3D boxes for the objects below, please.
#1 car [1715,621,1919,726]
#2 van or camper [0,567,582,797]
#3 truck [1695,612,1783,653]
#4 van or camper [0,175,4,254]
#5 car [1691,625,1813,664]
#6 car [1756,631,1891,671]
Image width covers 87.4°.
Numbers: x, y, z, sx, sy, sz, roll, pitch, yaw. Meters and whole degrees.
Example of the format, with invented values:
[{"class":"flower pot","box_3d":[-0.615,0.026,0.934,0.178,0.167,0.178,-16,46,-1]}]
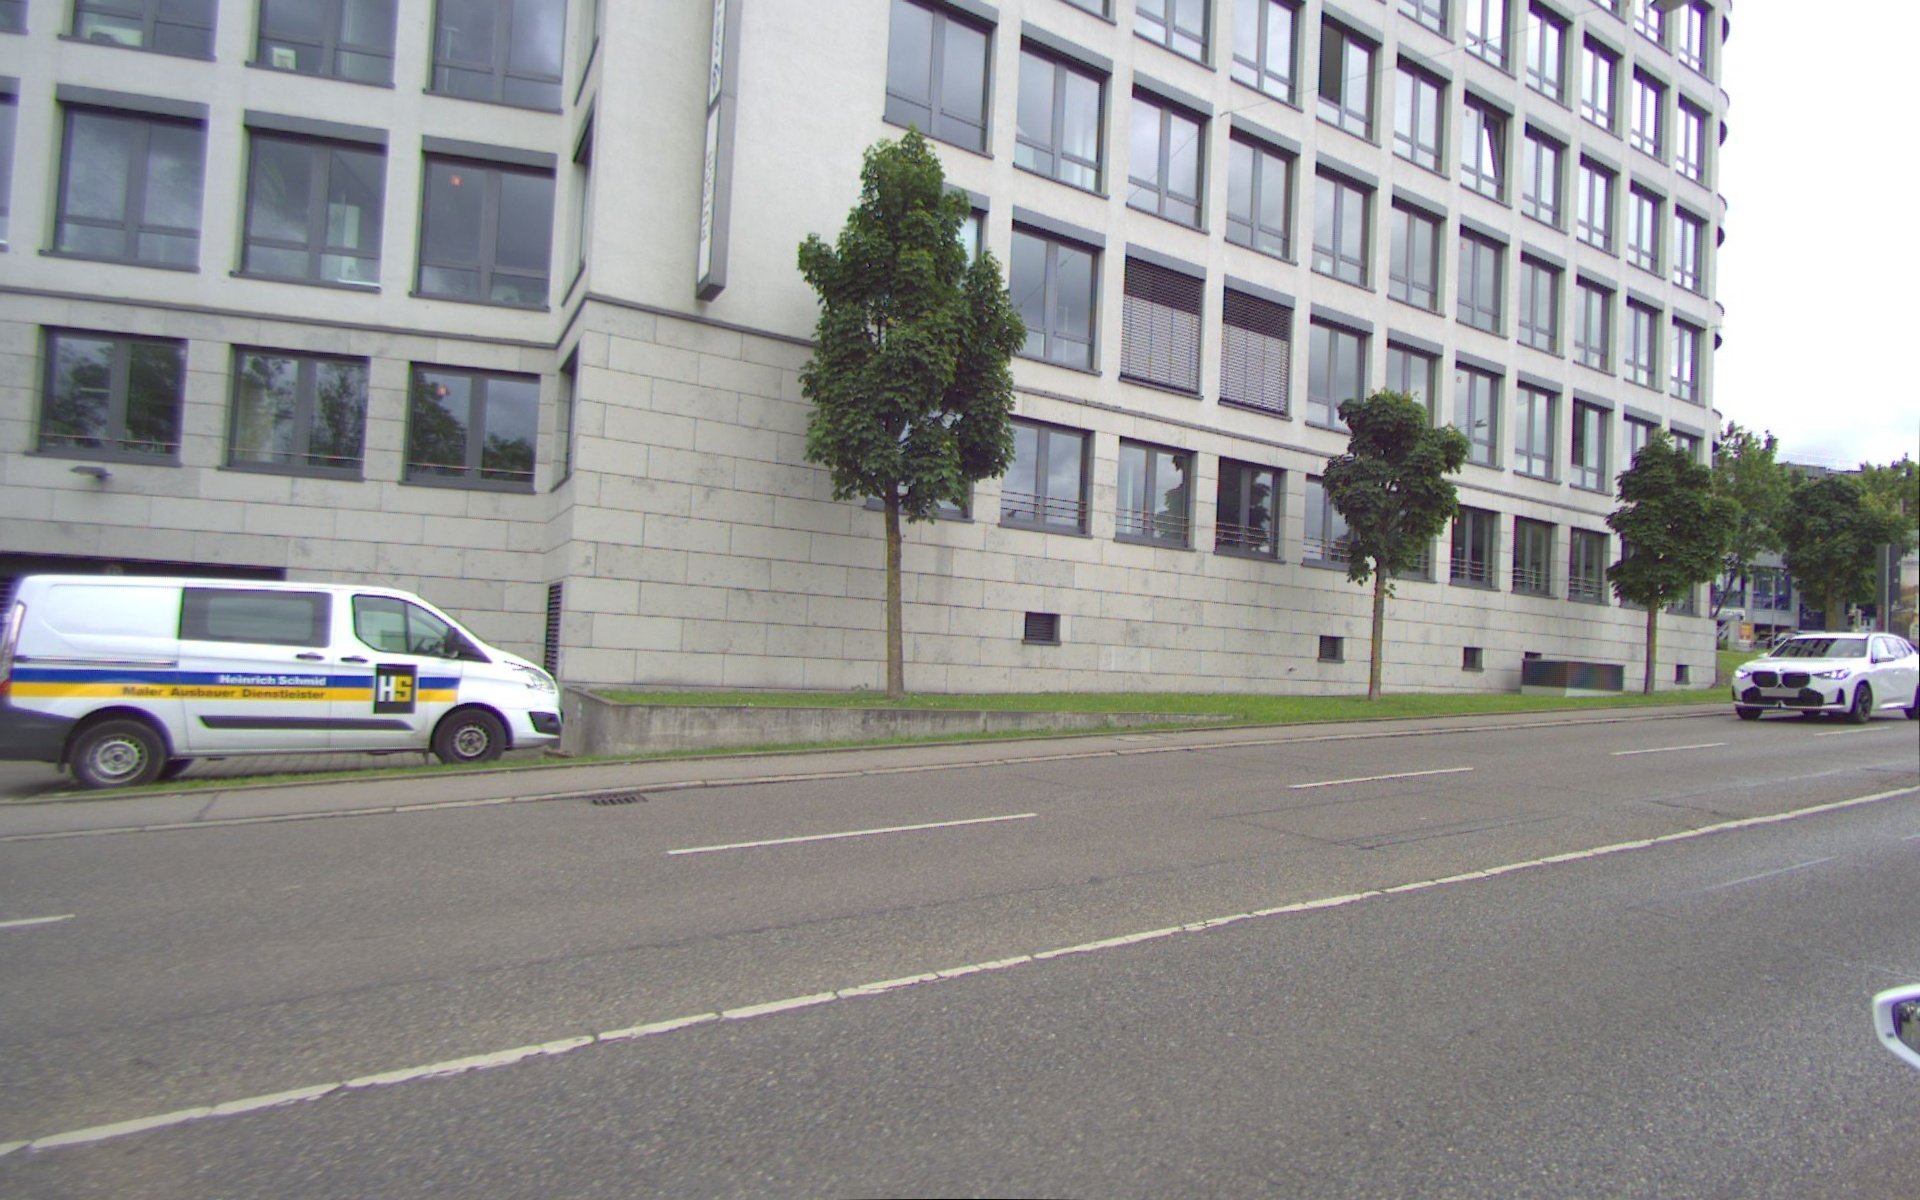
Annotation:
[{"class":"car","box_3d":[16.845,1.383,19.465,4.599,1.812,1.861,2,-4,-30]},{"class":"van or camper","box_3d":[-6.761,0.811,10.786,4.814,1.993,2.052,1,-4,-30]},{"class":"truck","box_3d":[48.569,2.010,62.675,3.923,2.419,1.999,1,0,-4]},{"class":"van or camper","box_3d":[-4.550,0.079,0.140,5.899,2.697,2.331,3,-1,-32]},{"class":"car","box_3d":[36.867,2.057,46.797,4.356,1.482,1.780,3,0,-5]},{"class":"car","box_3d":[36.642,2.165,42.694,4.356,1.482,1.780,2,0,-5]}]
